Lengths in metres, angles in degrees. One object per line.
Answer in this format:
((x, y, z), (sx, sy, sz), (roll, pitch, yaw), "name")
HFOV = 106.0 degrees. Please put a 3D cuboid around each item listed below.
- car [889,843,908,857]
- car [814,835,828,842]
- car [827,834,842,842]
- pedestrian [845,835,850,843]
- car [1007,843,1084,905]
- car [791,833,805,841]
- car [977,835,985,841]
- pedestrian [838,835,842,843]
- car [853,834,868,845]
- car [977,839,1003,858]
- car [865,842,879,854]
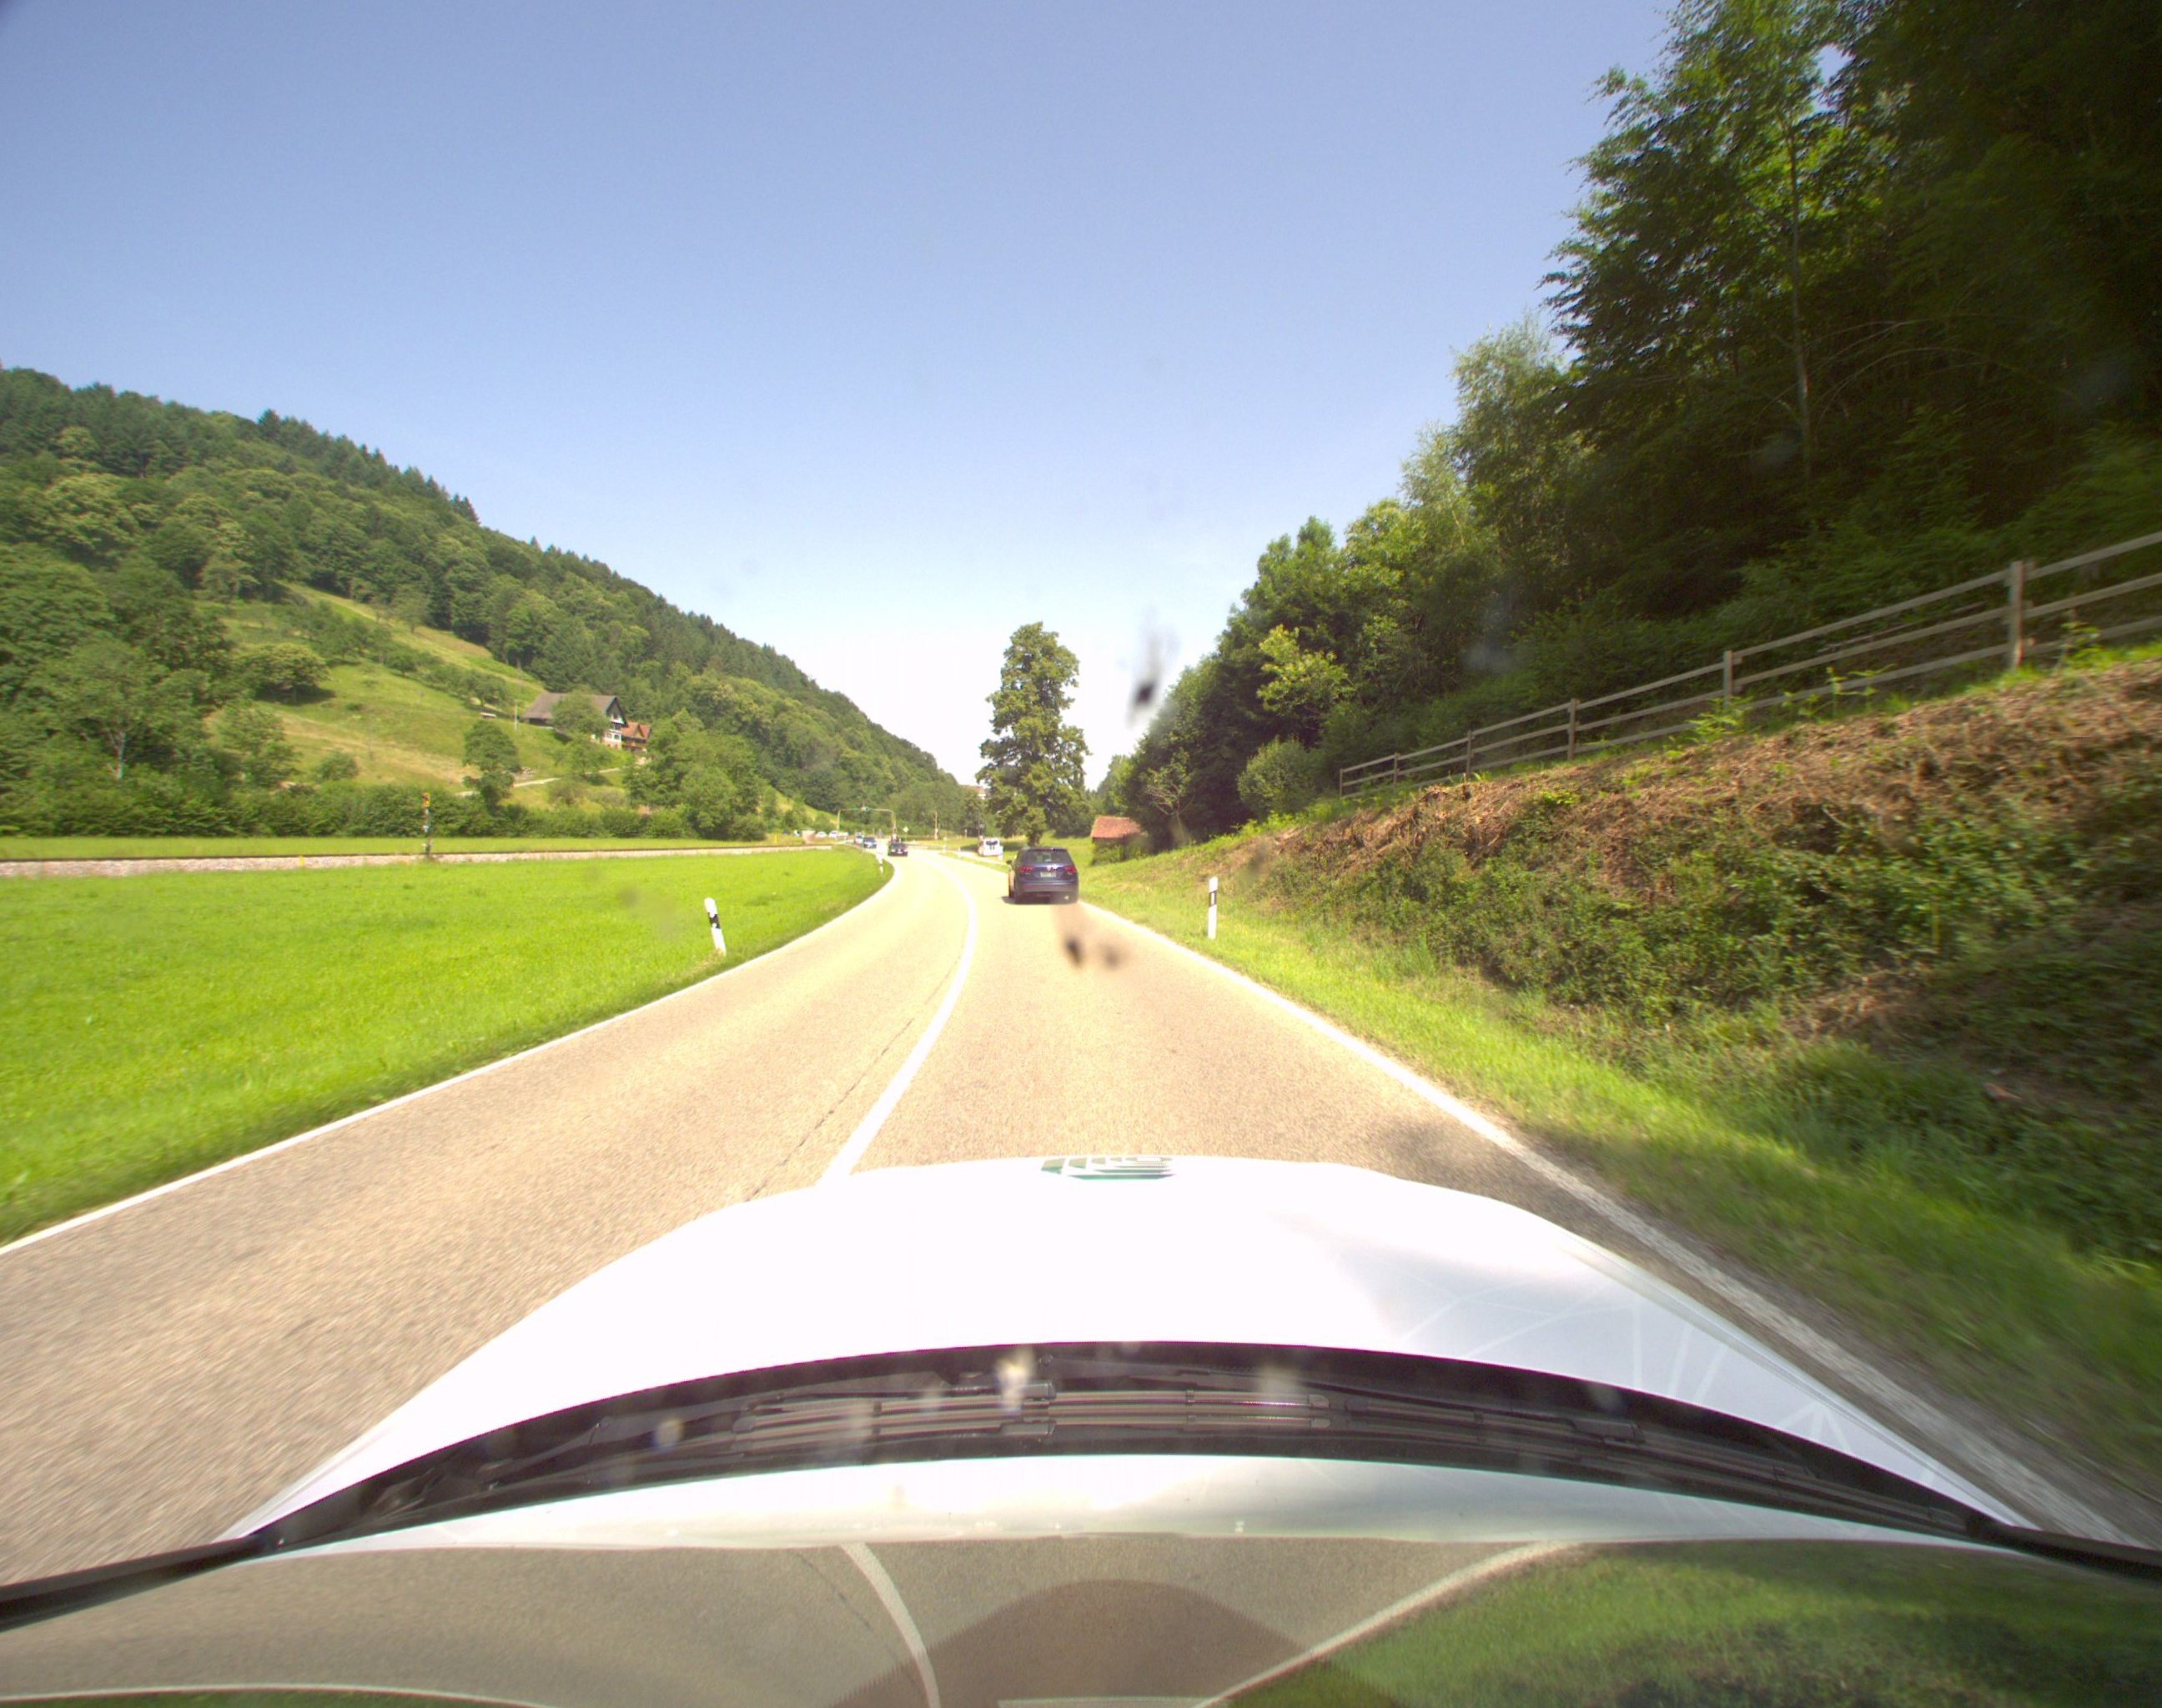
((-20.005, -0.440, 89.241), (1.918, 1.470, 4.491), (0, 1, -13), "car")
((-59.087, -3.573, 185.378), (1.990, 1.641, 4.894), (0, 1, -5), "car")
((-56.333, -3.610, 186.220), (1.866, 1.782, 4.769), (2, 1, -2), "car")
((-51.682, -3.377, 180.423), (0.641, 1.858, 0.776), (1, 1, 28), "pedestrian")
((-1.156, 0.536, 24.374), (1.852, 1.649, 4.127), (-1, 0, -9), "car")
((-64.219, -3.844, 184.657), (1.992, 1.500, 4.511), (3, 1, -7), "car")
((-31.864, -5.037, 260.286), (1.796, 1.618, 4.003), (1, -1, 3), "car")
((-52.943, -3.287, 178.885), (0.784, 1.842, 0.699), (0, 1, 3), "pedestrian")
((-35.175, -2.263, 129.614), (1.922, 1.714, 4.131), (0, 1, -21), "car")
((-10.207, -0.671, 90.826), (2.003, 1.848, 4.844), (-4, 2, -15), "car")
((-30.084, -0.903, 116.967), (1.869, 1.623, 4.488), (-1, 2, -15), "car")
